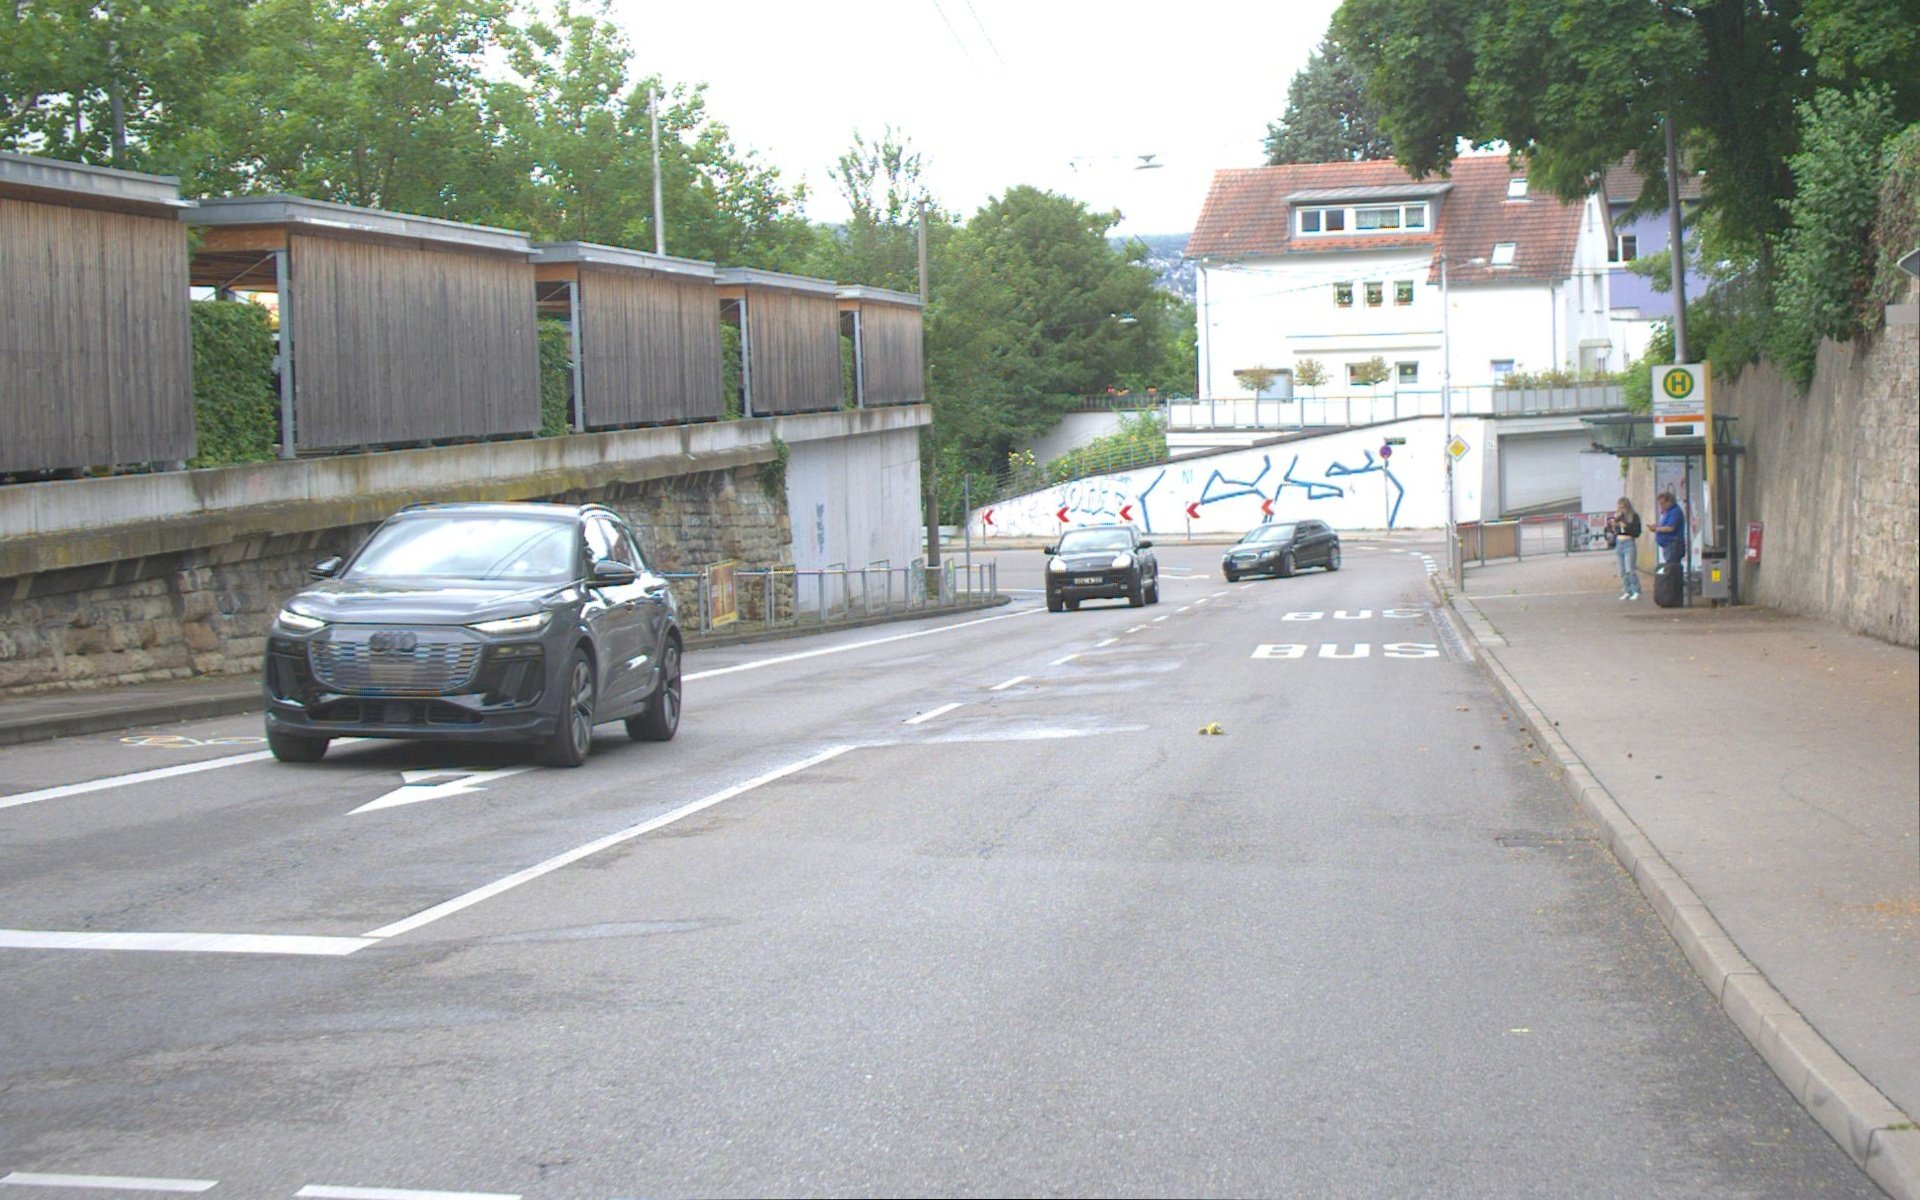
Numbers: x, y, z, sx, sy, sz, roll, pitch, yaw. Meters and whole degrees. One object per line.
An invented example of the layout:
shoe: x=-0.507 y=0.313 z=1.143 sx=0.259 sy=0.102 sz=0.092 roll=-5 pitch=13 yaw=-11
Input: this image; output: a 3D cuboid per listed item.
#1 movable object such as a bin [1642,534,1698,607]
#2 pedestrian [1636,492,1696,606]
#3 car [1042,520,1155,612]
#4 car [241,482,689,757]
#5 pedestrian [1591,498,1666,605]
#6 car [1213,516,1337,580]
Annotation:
movable object such as a bin: x=10.242 y=-0.432 z=49.582 sx=0.674 sy=1.016 sz=0.627 roll=-2 pitch=2 yaw=2
pedestrian: x=10.320 y=-0.746 z=50.253 sx=0.721 sy=1.637 sz=0.631 roll=-2 pitch=1 yaw=3
car: x=2.851 y=-0.704 z=69.830 sx=1.894 sy=1.750 sz=4.436 roll=-2 pitch=1 yaw=7
car: x=-3.142 y=0.102 z=22.808 sx=1.922 sy=1.624 sz=4.522 roll=1 pitch=0 yaw=5
pedestrian: x=10.229 y=-0.741 z=52.582 sx=0.771 sy=1.582 sz=0.737 roll=-5 pitch=2 yaw=-41
car: x=8.015 y=-1.333 z=87.155 sx=1.737 sy=1.527 sz=3.994 roll=-2 pitch=1 yaw=27
